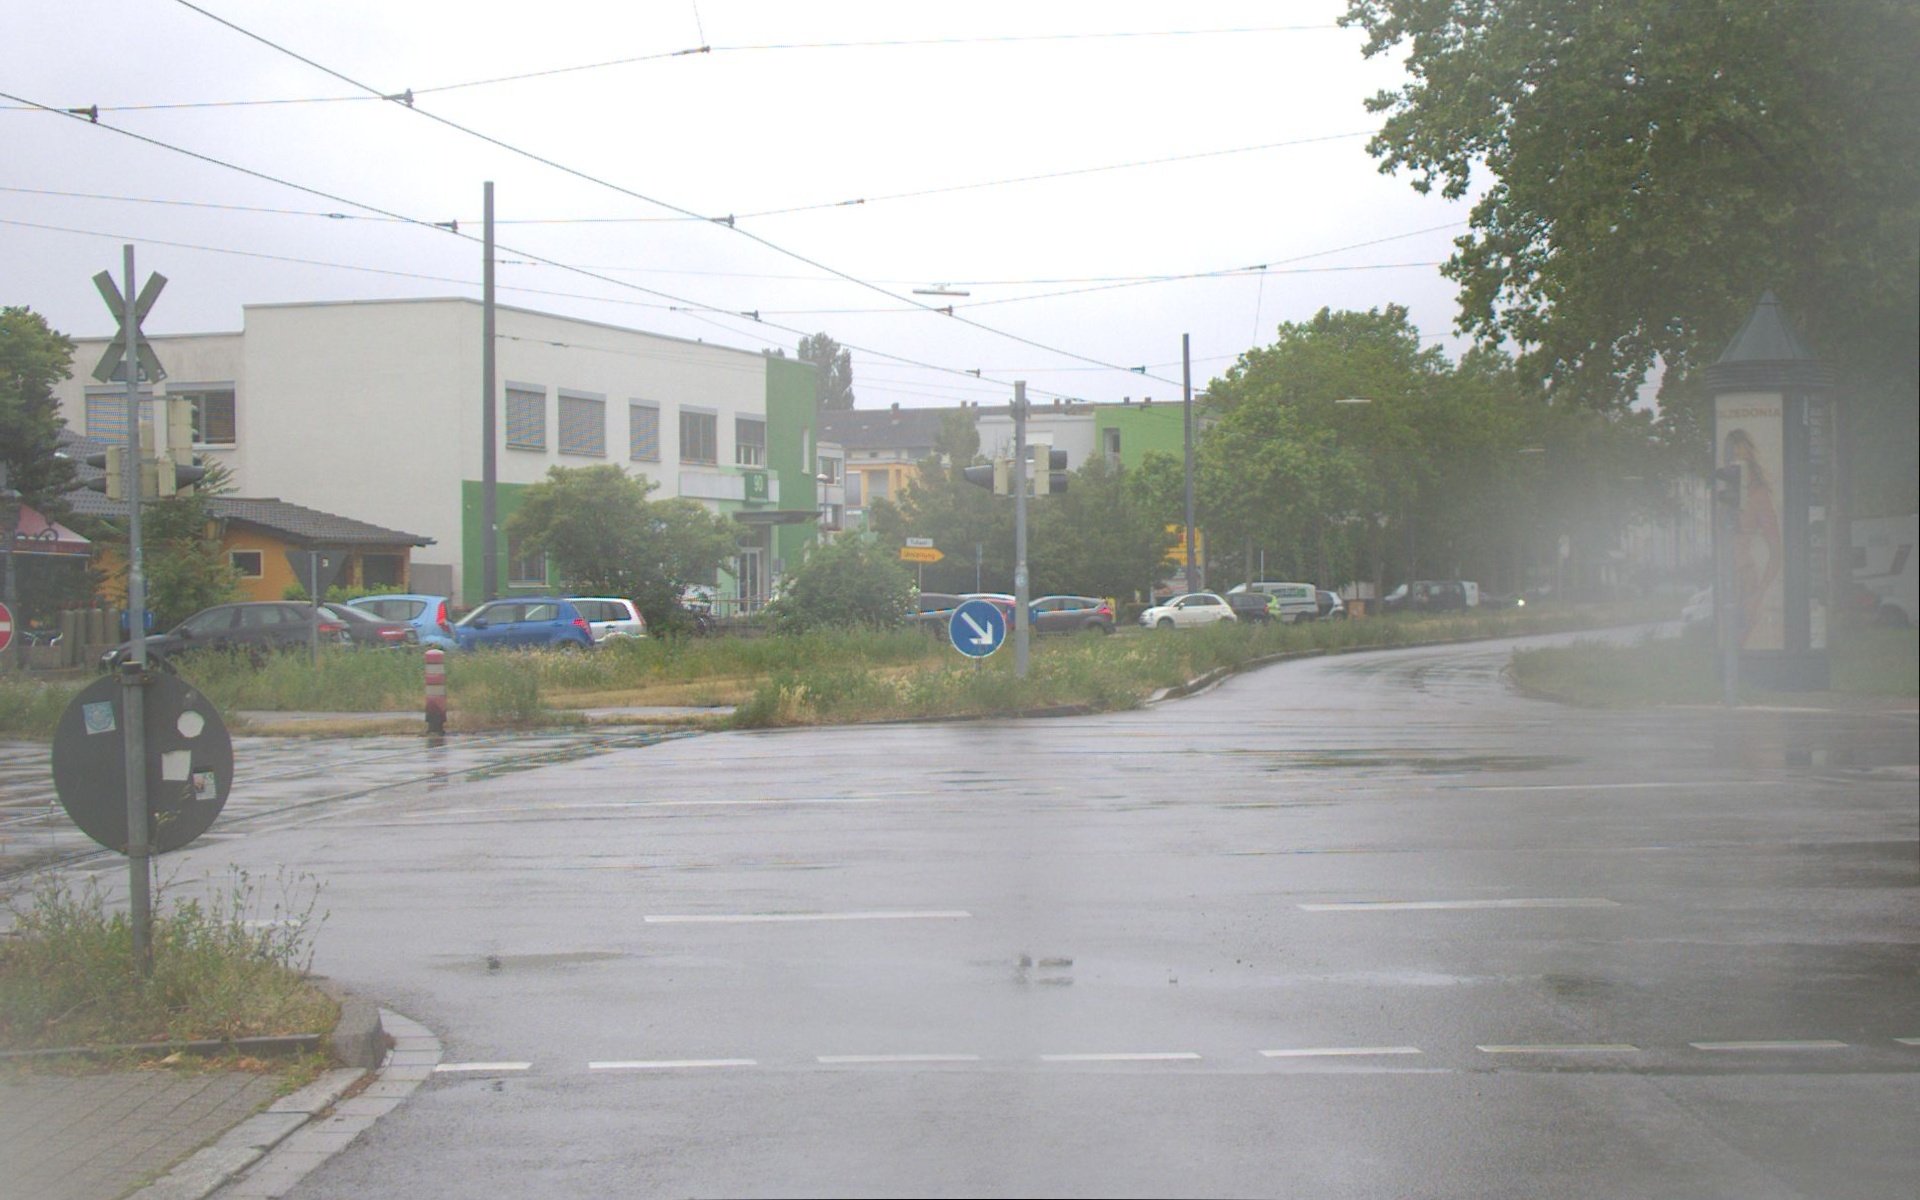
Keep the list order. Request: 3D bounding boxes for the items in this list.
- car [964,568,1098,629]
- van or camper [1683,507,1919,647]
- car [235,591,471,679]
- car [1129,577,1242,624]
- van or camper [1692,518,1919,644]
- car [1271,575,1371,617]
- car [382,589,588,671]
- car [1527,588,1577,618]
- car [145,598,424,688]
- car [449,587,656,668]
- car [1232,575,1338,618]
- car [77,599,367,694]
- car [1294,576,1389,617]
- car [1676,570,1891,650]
[{"bbox_3d":[2.244,-0.059,109.550,3.986,1.881,2.000,1,0,-7],"label":"car"},{"bbox_3d":[20.728,-0.531,79.989,7.328,3.167,3.259,1,0,18],"label":"van or camper"},{"bbox_3d":[-11.313,0.644,64.206,3.987,1.576,1.858,0,0,4],"label":"car"},{"bbox_3d":[8.267,0.014,126.138,3.773,1.697,1.837,1,0,-10],"label":"car"},{"bbox_3d":[23.026,-0.492,89.123,7.434,3.167,3.259,1,0,22],"label":"van or camper"},{"bbox_3d":[16.073,-0.165,153.253,3.986,1.826,2.001,1,0,-11],"label":"car"},{"bbox_3d":[-9.574,0.590,69.194,3.986,1.576,1.930,-1,0,-11],"label":"car"},{"bbox_3d":[33.553,0.181,194.707,1.893,1.656,3.995,1,0,23],"label":"car"},{"bbox_3d":[-11.889,0.748,60.703,4.497,1.413,1.858,-2,0,1],"label":"car"},{"bbox_3d":[-8.599,0.567,72.393,4.107,1.635,1.930,-1,0,-14],"label":"car"},{"bbox_3d":[13.638,-0.146,144.370,3.986,1.753,2.011,1,0,-11],"label":"car"},{"bbox_3d":[-12.500,0.777,58.411,4.477,1.413,1.858,-2,0,1],"label":"car"},{"bbox_3d":[17.565,-0.154,158.413,3.986,1.826,2.000,1,0,-5],"label":"car"},{"bbox_3d":[18.463,0.209,77.032,4.449,1.711,1.998,1,0,21],"label":"car"}]
